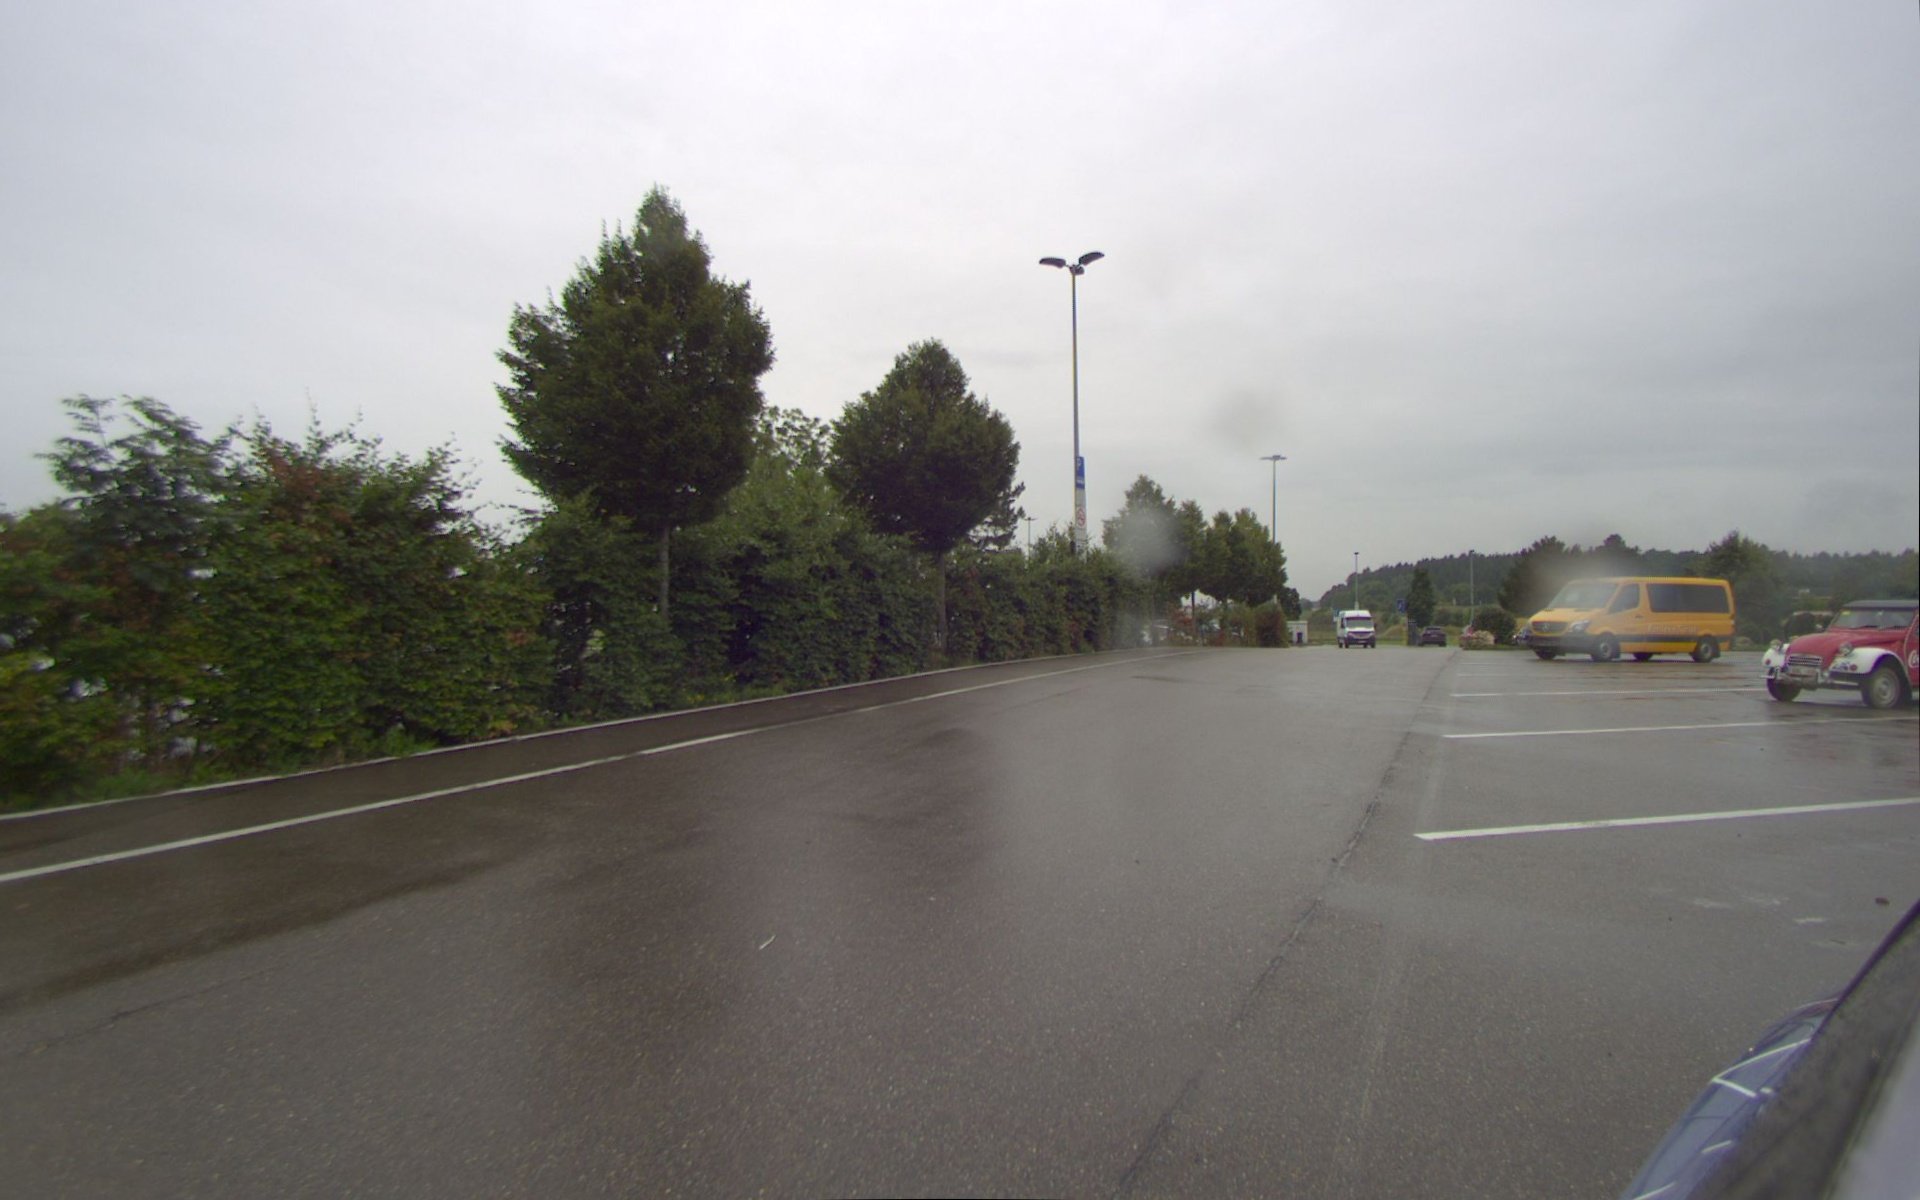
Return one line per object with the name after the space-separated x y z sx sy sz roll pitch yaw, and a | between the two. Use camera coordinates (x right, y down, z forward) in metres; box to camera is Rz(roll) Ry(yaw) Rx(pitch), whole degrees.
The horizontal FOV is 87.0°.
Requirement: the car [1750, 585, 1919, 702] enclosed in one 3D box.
13.867 0.583 14.768 3.971 1.575 1.553 0 0 -13 | car

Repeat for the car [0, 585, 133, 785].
-8.943 0.702 8.606 3.627 1.531 1.535 -2 -1 25 | car

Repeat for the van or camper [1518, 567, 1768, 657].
18.580 0.312 27.550 6.282 2.275 2.139 0 0 -17 | van or camper
